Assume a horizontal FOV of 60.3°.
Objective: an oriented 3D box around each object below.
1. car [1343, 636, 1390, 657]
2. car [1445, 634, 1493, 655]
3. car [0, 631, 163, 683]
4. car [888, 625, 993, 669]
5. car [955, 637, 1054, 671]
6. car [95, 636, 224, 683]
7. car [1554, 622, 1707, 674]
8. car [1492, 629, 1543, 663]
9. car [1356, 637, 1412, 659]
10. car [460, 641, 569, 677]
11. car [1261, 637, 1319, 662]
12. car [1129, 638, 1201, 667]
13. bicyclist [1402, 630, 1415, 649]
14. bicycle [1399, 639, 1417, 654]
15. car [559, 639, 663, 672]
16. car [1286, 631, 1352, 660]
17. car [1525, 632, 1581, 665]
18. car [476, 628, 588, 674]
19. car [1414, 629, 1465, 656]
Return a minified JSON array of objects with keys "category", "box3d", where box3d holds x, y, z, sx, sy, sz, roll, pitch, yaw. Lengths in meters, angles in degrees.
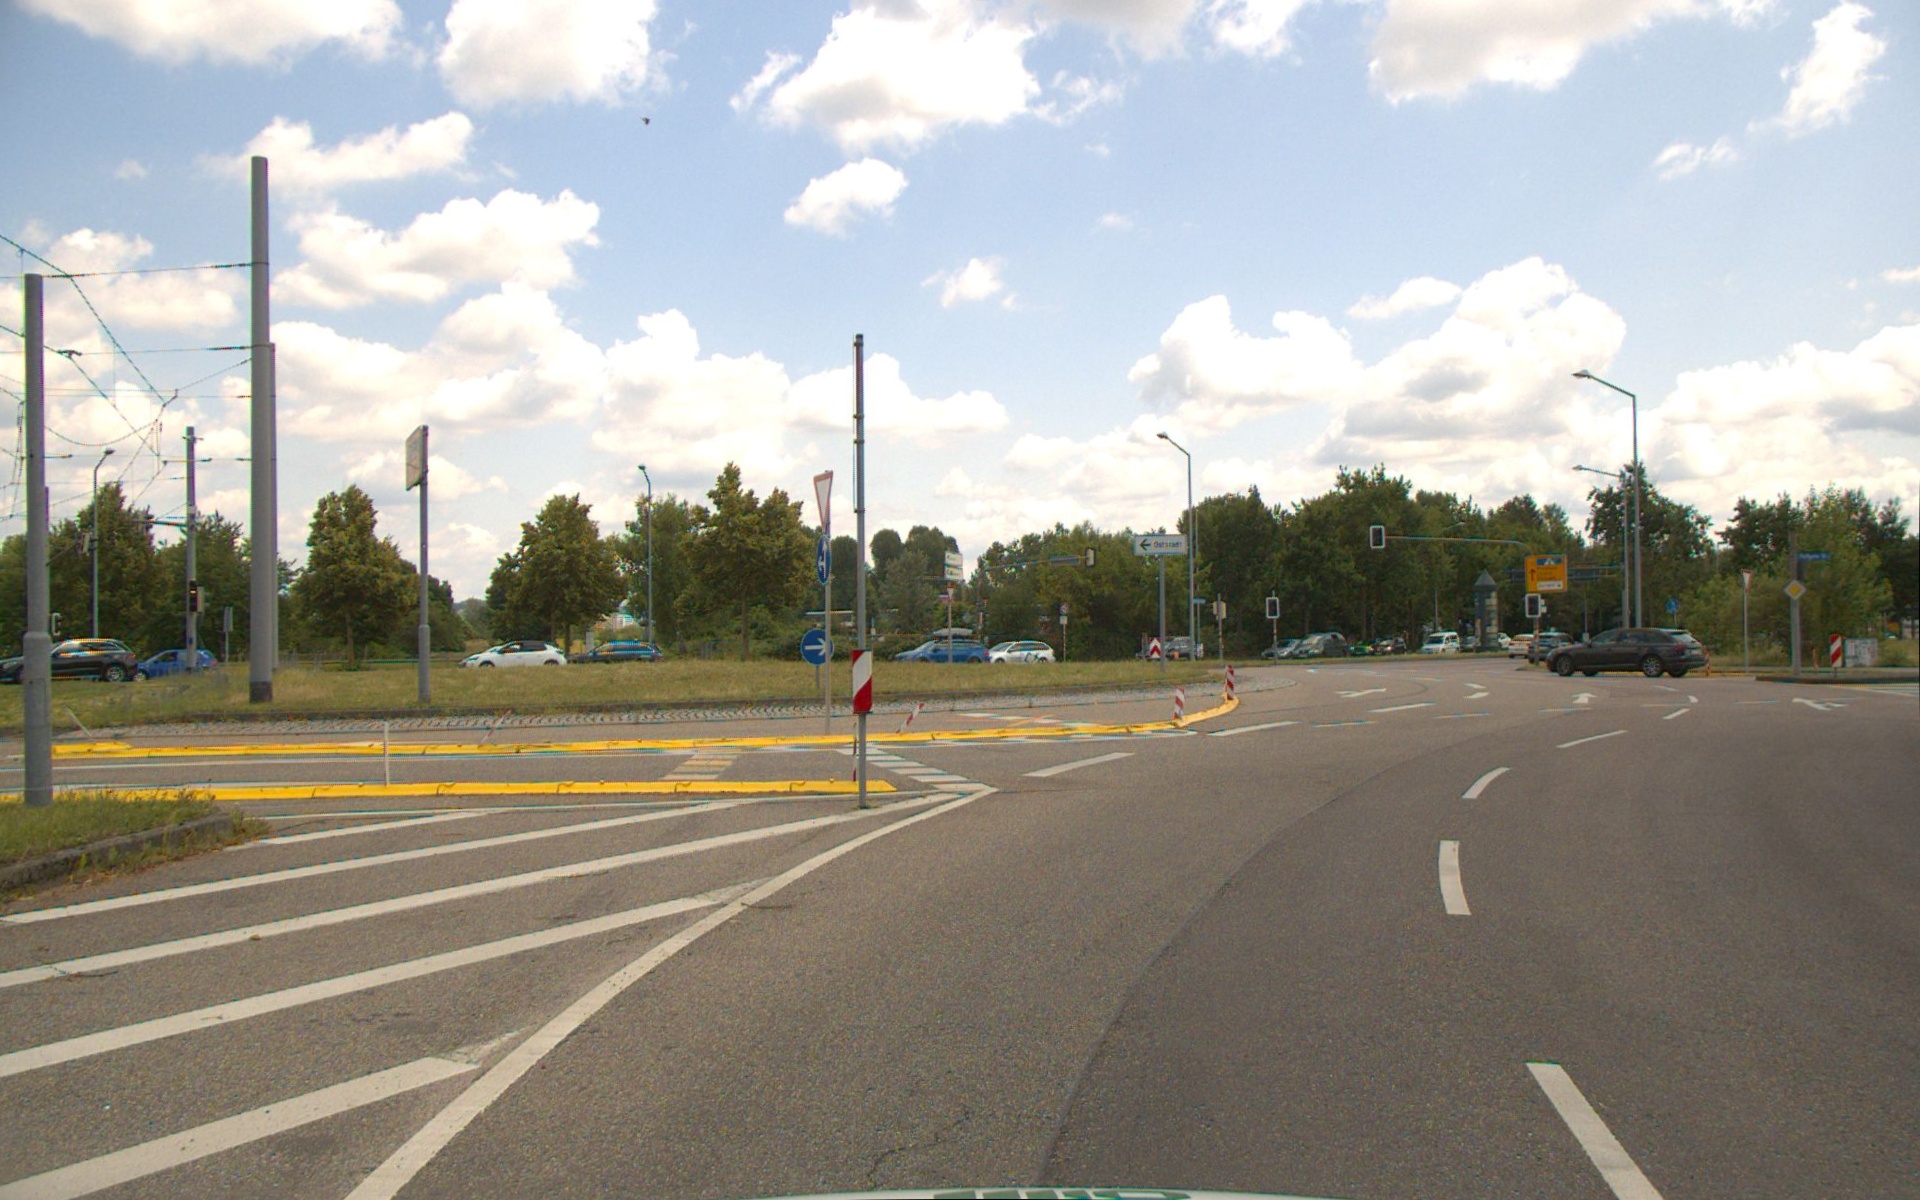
[{"category":"car","box3d":[28.456,3.266,115.665,1.590,1.372,4.151,-4,-4,38]},{"category":"car","box3d":[37.986,3.307,123.328,1.808,1.506,4.732,-4,-4,37]},{"category":"car","box3d":[-31.529,2.009,59.346,5.015,1.704,1.974,0,-1,-37]},{"category":"car","box3d":[-0.852,2.048,73.210,4.333,1.830,1.744,0,-1,-23]},{"category":"car","box3d":[2.191,2.600,80.275,4.455,1.548,2.098,0,-1,-35]},{"category":"car","box3d":[-33.484,2.452,69.228,4.673,1.822,1.825,0,-1,-36]},{"category":"car","box3d":[20.096,1.416,49.669,1.674,1.489,3.940,1,-1,-41]},{"category":"car","box3d":[34.002,2.798,100.775,1.959,2.049,3.986,-1,-1,35]},{"category":"car","box3d":[28.683,3.225,111.785,1.809,1.333,4.763,-5,-4,39]},{"category":"car","box3d":[-18.138,2.387,67.307,4.231,1.353,1.990,0,-1,-18]},{"category":"car","box3d":[19.737,2.959,98.854,1.873,1.448,4.176,-2,-2,35]},{"category":"car","box3d":[10.952,2.797,88.218,3.950,1.364,1.773,0,-3,-45]},{"category":"bicyclist","box3d":[37.490,3.284,138.293,0.816,1.592,0.880,0,-1,37]},{"category":"bicycle","box3d":[37.409,3.891,138.183,0.748,1.240,2.008,0,-1,37]},{"category":"car","box3d":[-15.469,2.435,73.304,4.404,1.346,1.946,-1,-1,-16]},{"category":"car","box3d":[20.644,2.632,95.061,1.877,1.620,4.570,-2,-2,39]},{"category":"car","box3d":[31.347,2.557,87.368,1.957,1.654,4.300,-2,-1,31]},{"category":"car","box3d":[-19.979,2.351,77.298,4.676,2.049,1.973,0,-1,-38]},{"category":"car","box3d":[34.315,3.014,118.413,1.808,1.831,4.765,-4,-3,38]}]
